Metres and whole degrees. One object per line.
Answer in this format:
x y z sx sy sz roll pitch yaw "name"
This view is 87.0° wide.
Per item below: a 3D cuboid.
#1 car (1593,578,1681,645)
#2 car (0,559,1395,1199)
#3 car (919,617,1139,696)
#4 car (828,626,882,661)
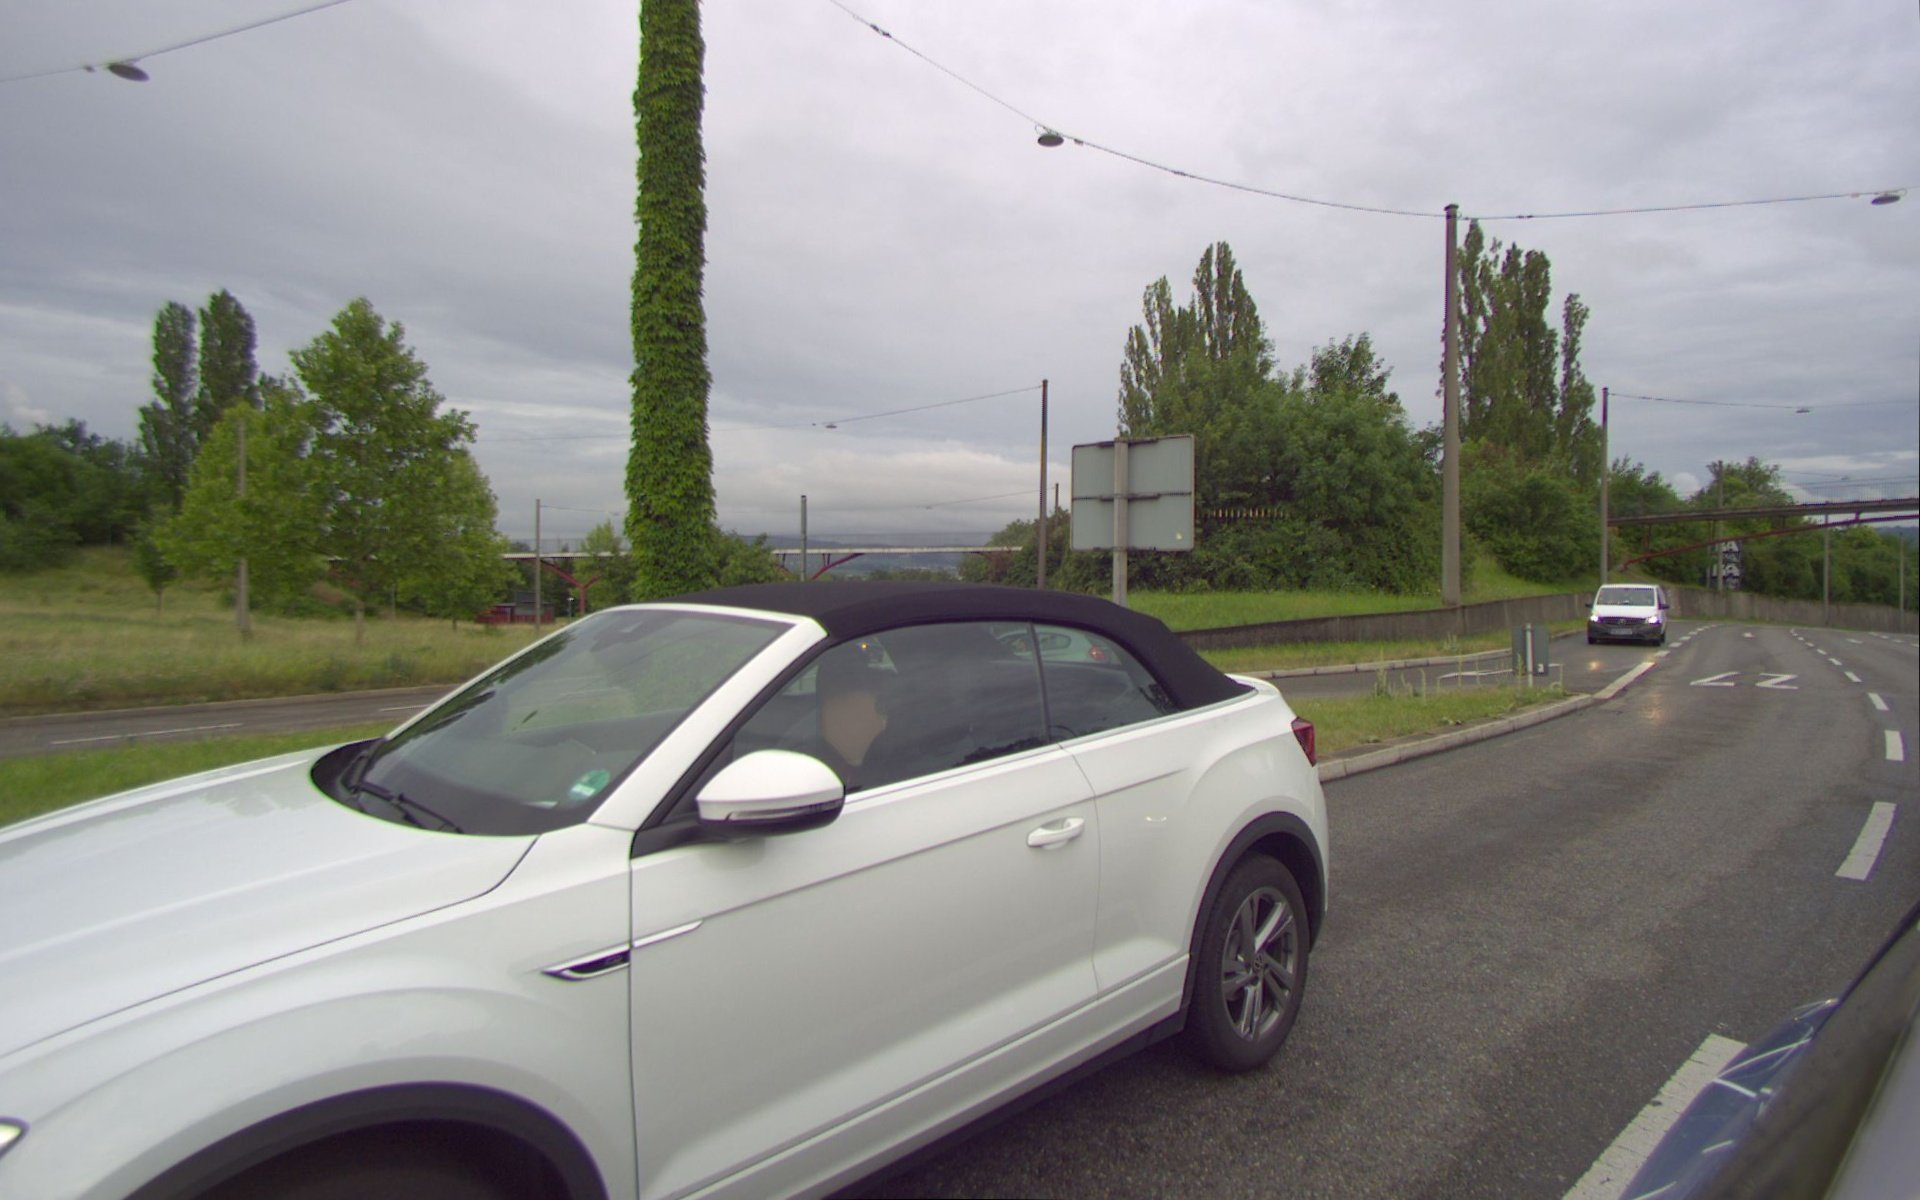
21.501 0.276 32.070 1.989 1.871 4.759 3 3 37 "car"
-0.475 0.712 2.896 4.160 1.572 1.714 -1 1 -44 "car"
1.377 1.127 20.176 4.032 1.438 1.673 -3 -2 22 "car"
-5.177 2.137 50.583 1.672 1.494 4.282 0 1 9 "car"
